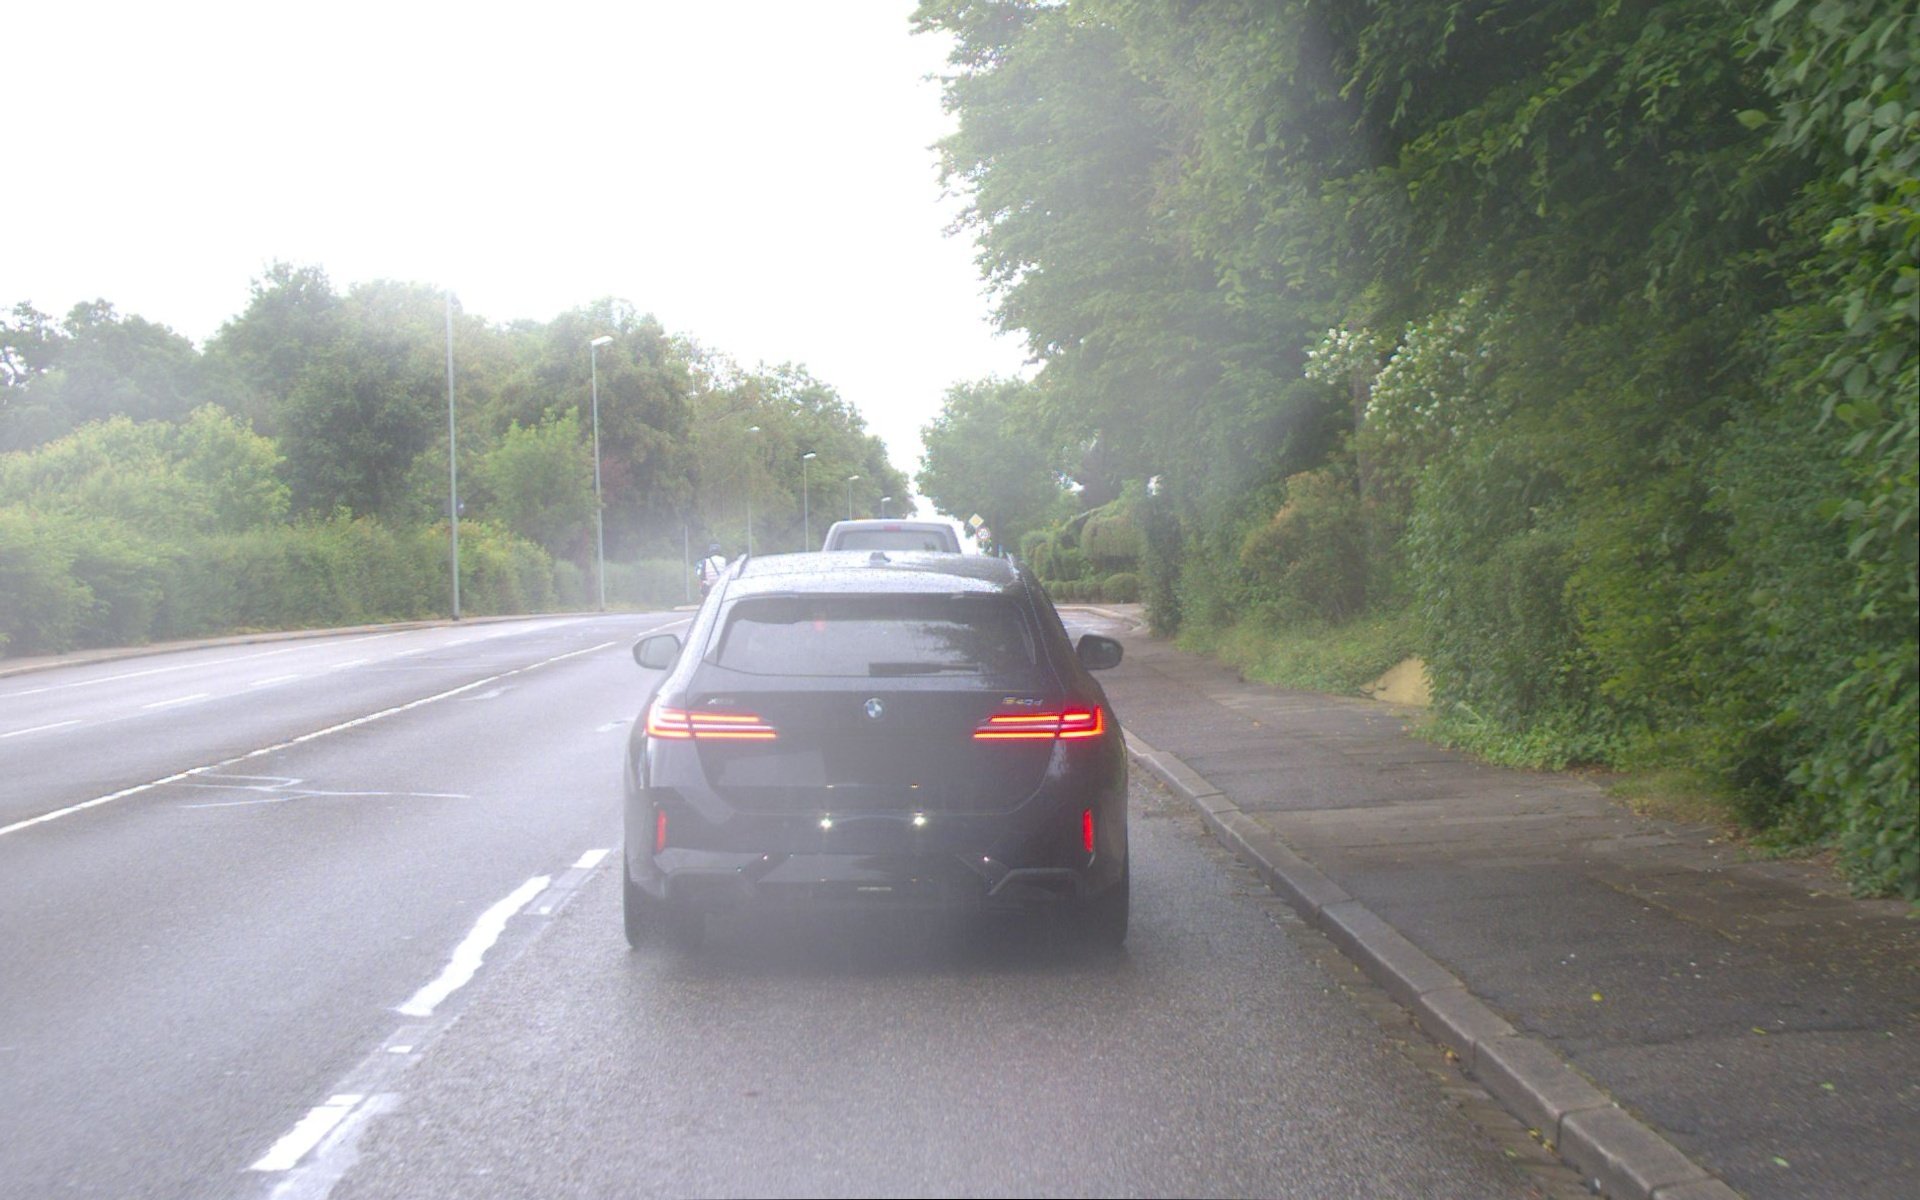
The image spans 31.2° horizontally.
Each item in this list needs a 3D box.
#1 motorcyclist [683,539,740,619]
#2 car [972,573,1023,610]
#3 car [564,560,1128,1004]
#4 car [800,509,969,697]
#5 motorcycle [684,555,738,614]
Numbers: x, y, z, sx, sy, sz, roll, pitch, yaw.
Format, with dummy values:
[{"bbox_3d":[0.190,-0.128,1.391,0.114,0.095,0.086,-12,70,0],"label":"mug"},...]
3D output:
[{"bbox_3d":[-4.860,-0.407,67.238,1.039,1.562,0.855,1,0,-1],"label":"motorcyclist"},{"bbox_3d":[1.535,-0.373,139.180,1.935,1.437,4.408,-1,0,2],"label":"car"},{"bbox_3d":[-0.378,0.605,13.683,1.897,1.484,4.000,1,0,0],"label":"car"},{"bbox_3d":[-0.779,0.001,36.475,1.629,1.827,4.000,-2,1,-1],"label":"car"},{"bbox_3d":[-4.869,-0.289,67.322,0.876,1.120,2.741,1,0,-1],"label":"motorcycle"}]
